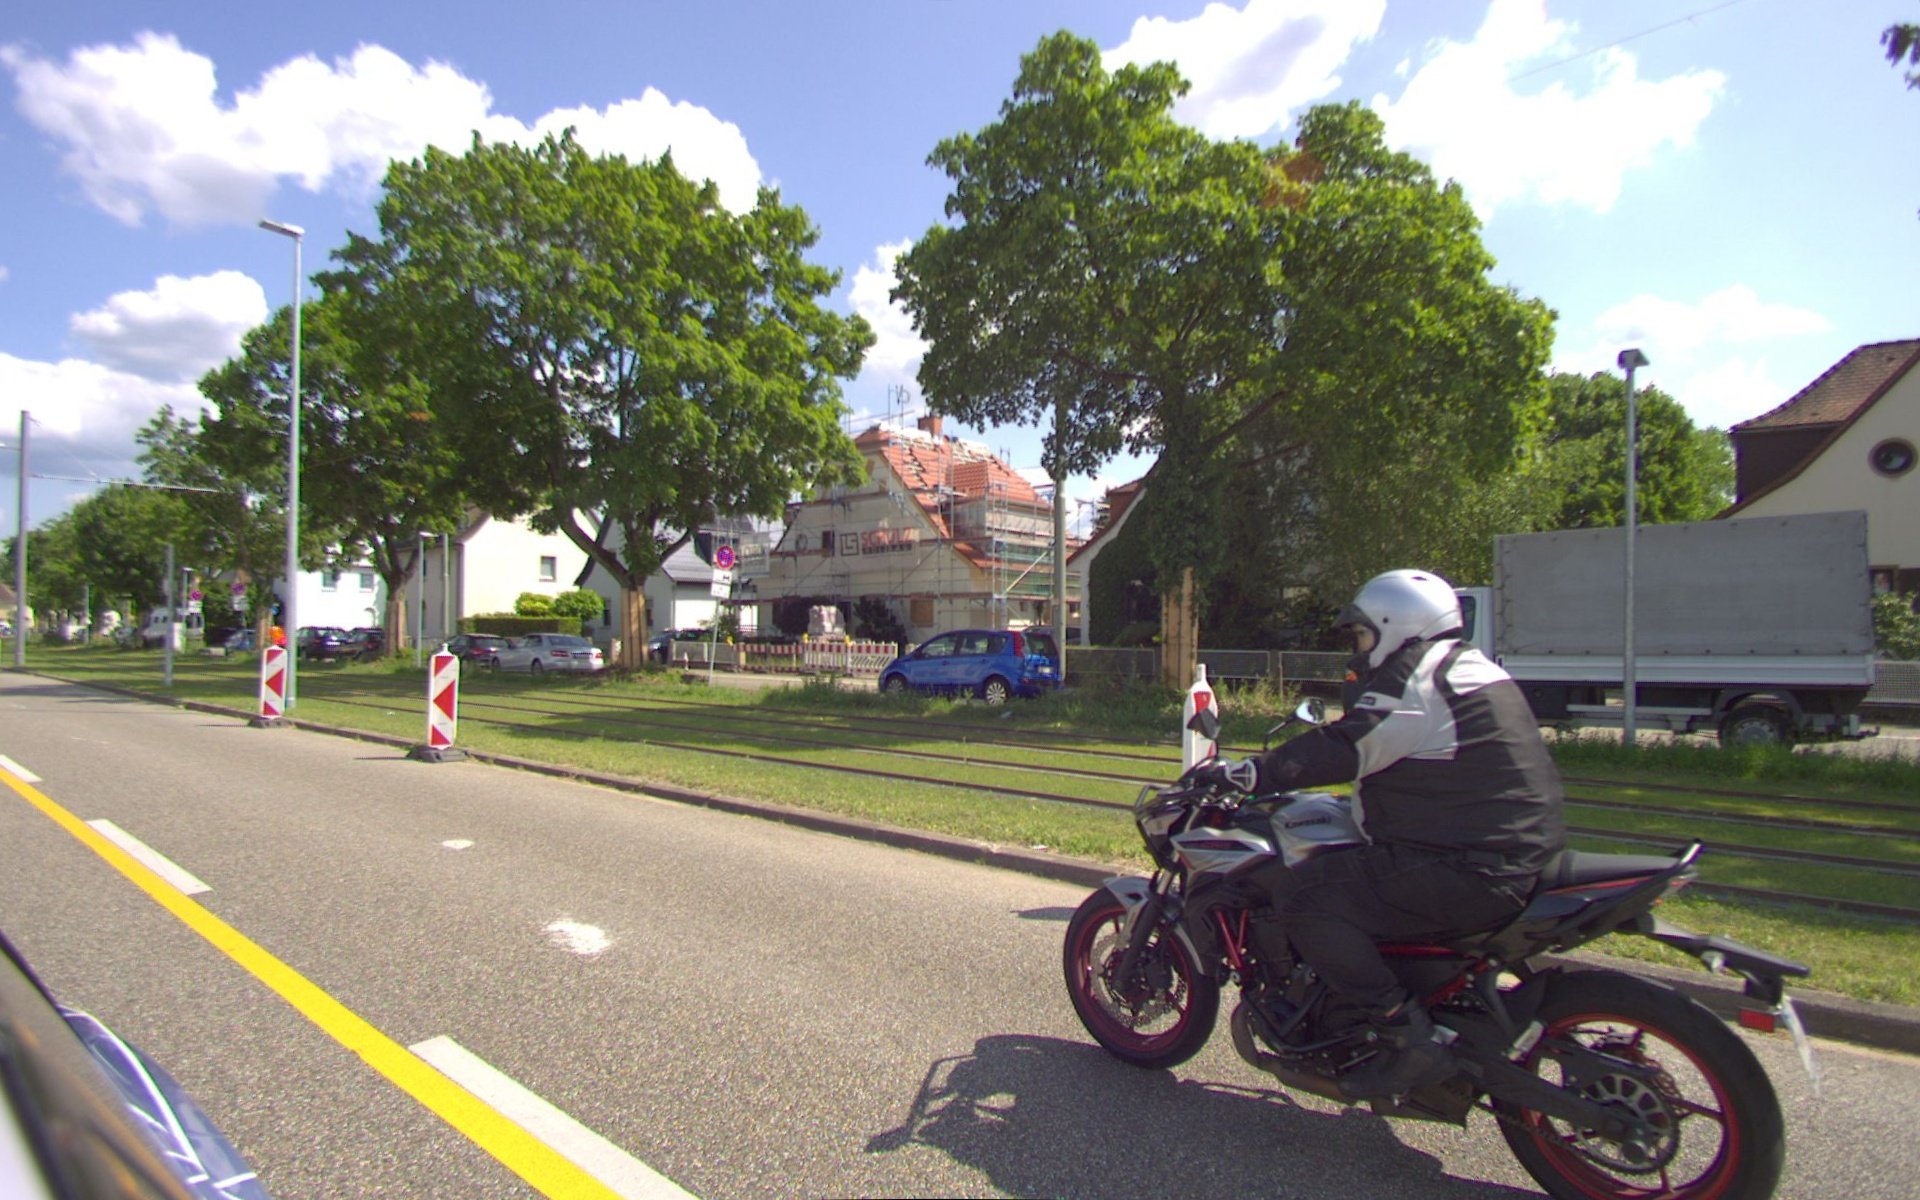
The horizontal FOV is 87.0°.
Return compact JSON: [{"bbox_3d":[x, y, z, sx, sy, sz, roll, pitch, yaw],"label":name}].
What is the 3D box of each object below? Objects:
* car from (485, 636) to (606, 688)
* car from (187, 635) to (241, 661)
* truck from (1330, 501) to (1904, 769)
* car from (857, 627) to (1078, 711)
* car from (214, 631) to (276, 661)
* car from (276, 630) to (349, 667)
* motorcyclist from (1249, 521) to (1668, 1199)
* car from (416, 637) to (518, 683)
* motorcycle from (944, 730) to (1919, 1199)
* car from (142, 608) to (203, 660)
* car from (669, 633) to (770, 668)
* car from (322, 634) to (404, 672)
[{"bbox_3d":[-13.112,1.935,31.871,4.520,1.497,1.765,-4,-3,42],"label":"car"},{"bbox_3d":[-44.481,2.879,60.328,4.403,1.497,1.680,-3,-3,41],"label":"car"},{"bbox_3d":[8.295,0.456,13.402,5.971,2.802,2.242,-2,-3,41],"label":"truck"},{"bbox_3d":[0.055,1.354,20.271,4.403,1.497,1.680,-3,-3,41],"label":"car"},{"bbox_3d":[-37.498,2.432,53.048,4.403,1.497,1.680,-3,-3,41],"label":"car"},{"bbox_3d":[-29.499,2.228,46.073,4.403,1.584,1.680,-3,-3,41],"label":"car"},{"bbox_3d":[1.308,0.553,2.628,0.799,1.388,0.860,-2,-3,38],"label":"motorcyclist"},{"bbox_3d":[-17.525,2.122,35.892,4.403,1.497,1.680,-3,-3,41],"label":"car"},{"bbox_3d":[1.088,0.972,2.793,2.242,1.029,0.860,-2,-3,39],"label":"motorcycle"},{"bbox_3d":[-49.521,2.166,63.605,5.080,3.061,2.108,-3,-3,41],"label":"car"},{"bbox_3d":[-10.930,2.296,46.209,1.702,1.497,4.345,-3,-3,41],"label":"car"},{"bbox_3d":[-25.184,2.256,42.650,4.403,1.497,1.680,-3,-3,41],"label":"car"}]
